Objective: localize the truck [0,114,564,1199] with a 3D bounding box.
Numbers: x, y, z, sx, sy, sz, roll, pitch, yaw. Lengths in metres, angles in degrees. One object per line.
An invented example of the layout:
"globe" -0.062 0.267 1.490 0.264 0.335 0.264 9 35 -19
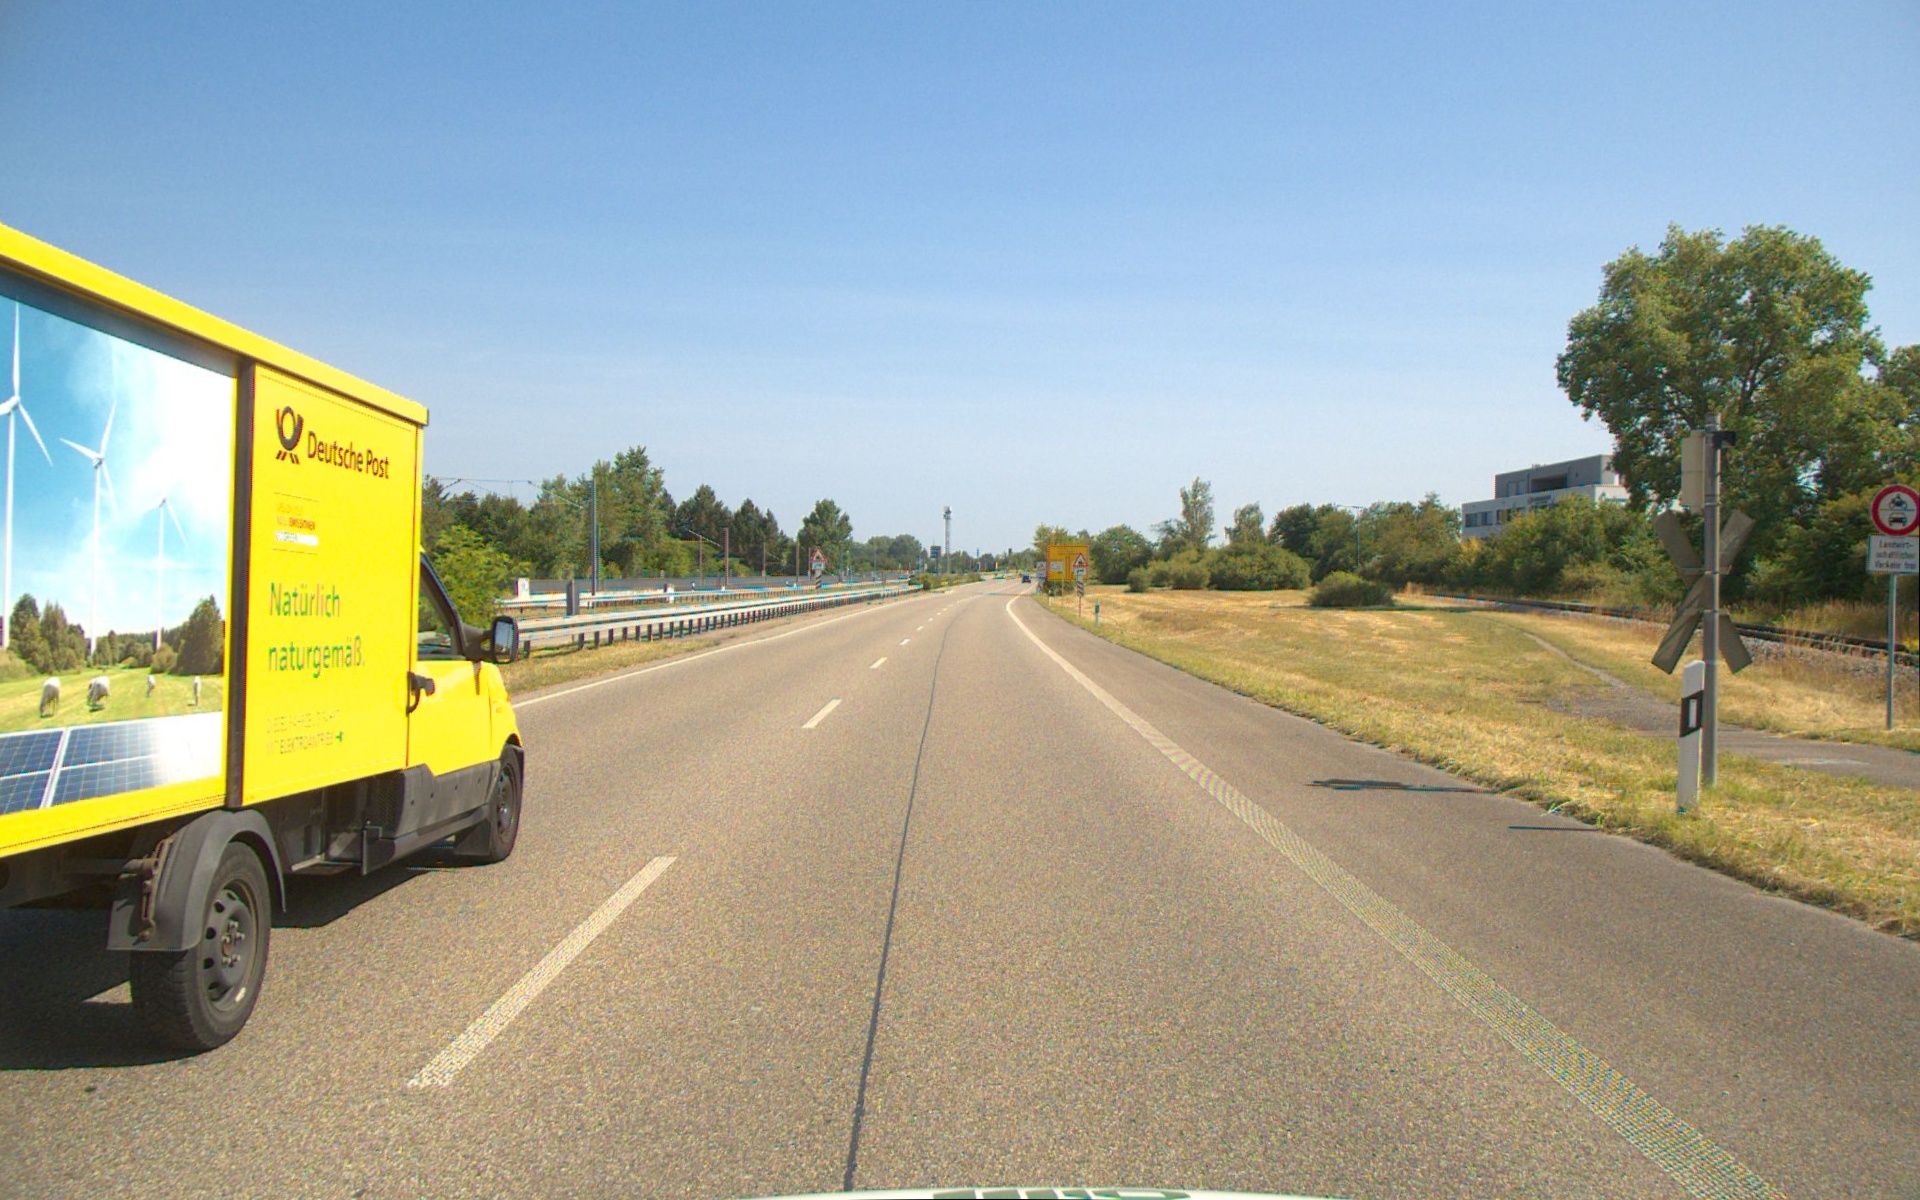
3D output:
"truck" -3.217 0.136 6.418 2.069 2.500 5.915 1 1 -2
